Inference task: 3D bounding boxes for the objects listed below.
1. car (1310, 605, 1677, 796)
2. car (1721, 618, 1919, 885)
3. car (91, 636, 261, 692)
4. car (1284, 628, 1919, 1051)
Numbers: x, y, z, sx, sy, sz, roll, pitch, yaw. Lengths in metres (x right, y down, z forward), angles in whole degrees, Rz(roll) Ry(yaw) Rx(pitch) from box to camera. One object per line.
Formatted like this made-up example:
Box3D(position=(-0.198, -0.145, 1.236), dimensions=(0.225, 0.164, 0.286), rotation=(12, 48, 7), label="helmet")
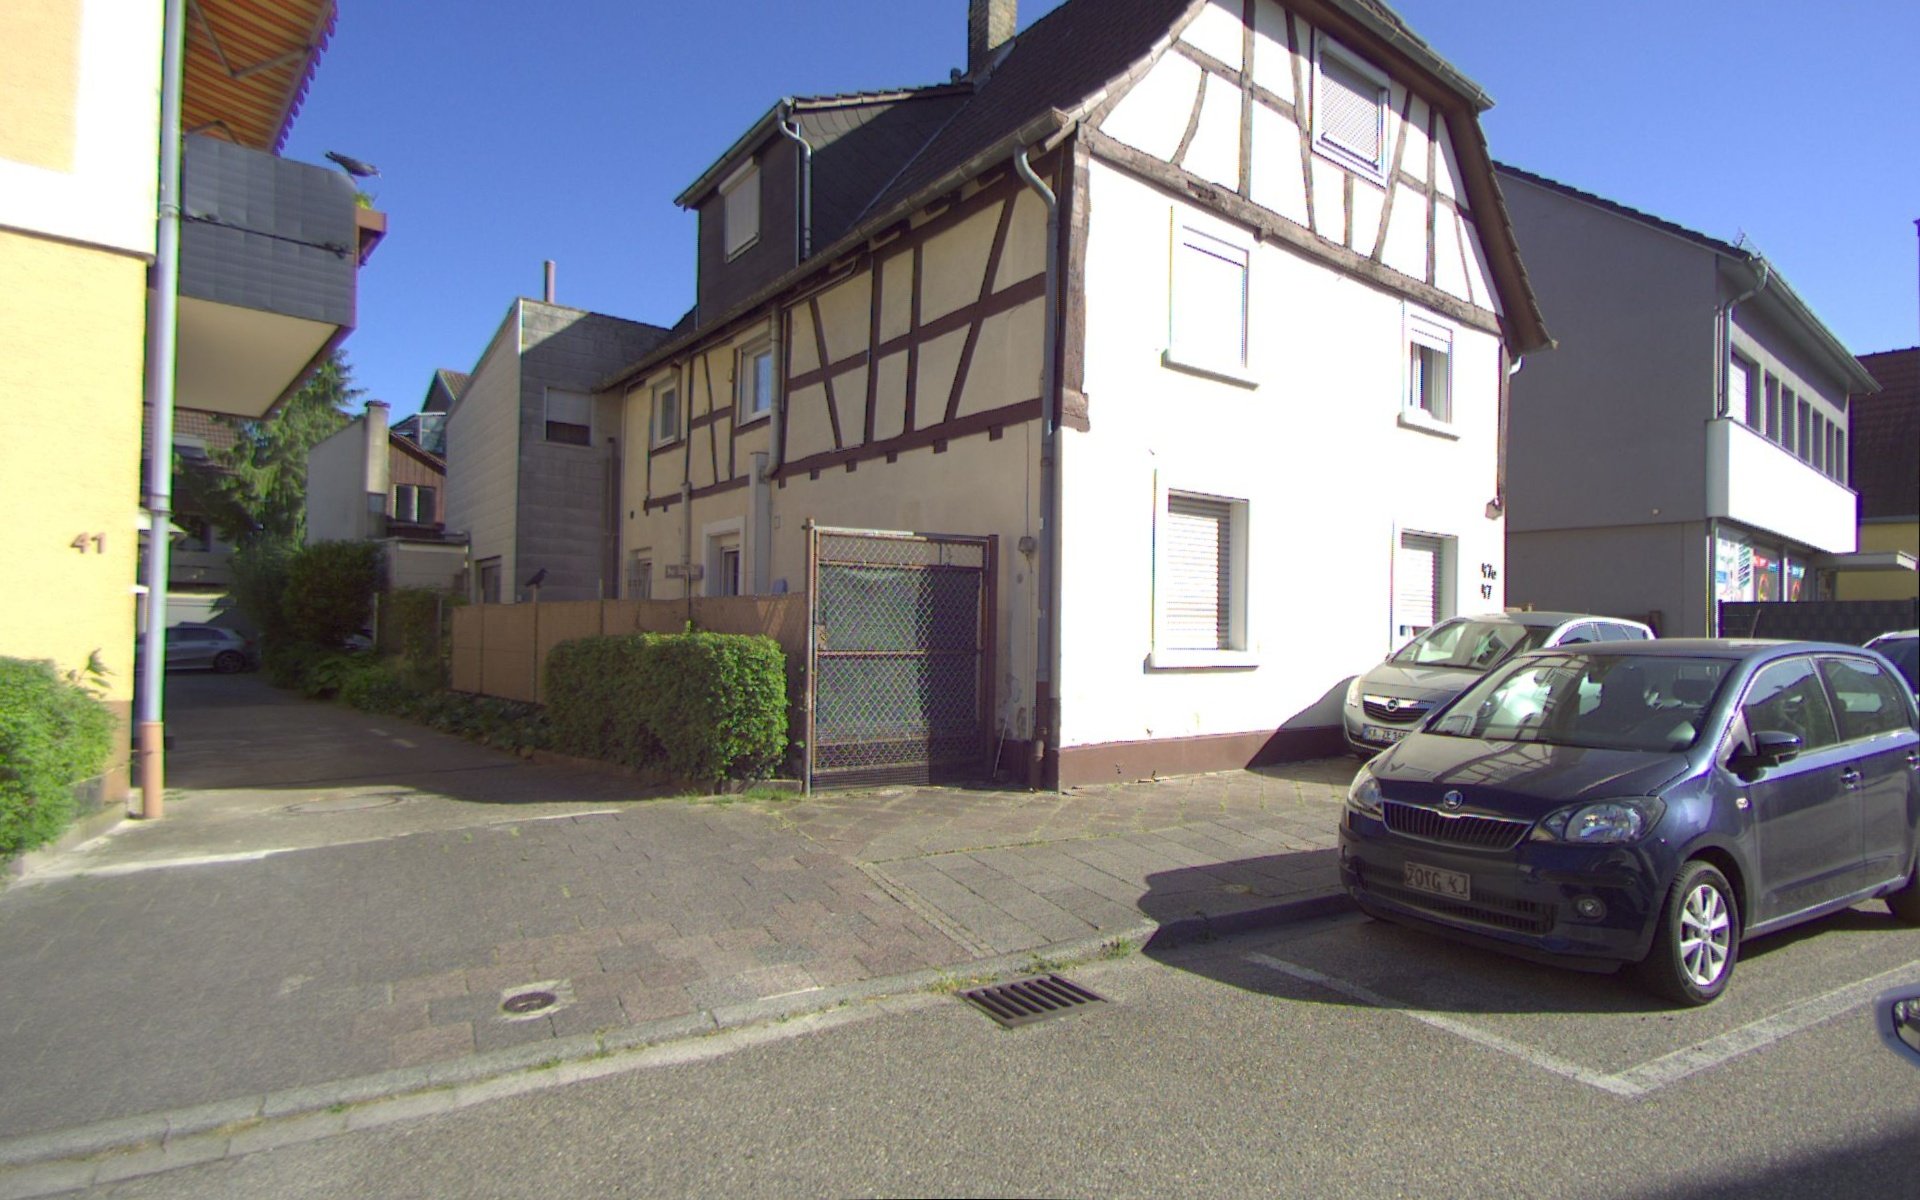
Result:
Box3D(position=(5.566, 0.911, 10.325), dimensions=(4.070, 1.608, 1.632), rotation=(1, -2, -34), label="car")
Box3D(position=(7.591, 0.978, 7.370), dimensions=(4.062, 1.639, 1.715), rotation=(1, -3, -30), label="car")
Box3D(position=(-21.839, 1.741, 28.060), dimensions=(3.597, 1.453, 1.578), rotation=(2, -3, -44), label="car")
Box3D(position=(3.629, 0.931, 5.275), dimensions=(3.639, 1.527, 1.648), rotation=(1, -3, -30), label="car")
